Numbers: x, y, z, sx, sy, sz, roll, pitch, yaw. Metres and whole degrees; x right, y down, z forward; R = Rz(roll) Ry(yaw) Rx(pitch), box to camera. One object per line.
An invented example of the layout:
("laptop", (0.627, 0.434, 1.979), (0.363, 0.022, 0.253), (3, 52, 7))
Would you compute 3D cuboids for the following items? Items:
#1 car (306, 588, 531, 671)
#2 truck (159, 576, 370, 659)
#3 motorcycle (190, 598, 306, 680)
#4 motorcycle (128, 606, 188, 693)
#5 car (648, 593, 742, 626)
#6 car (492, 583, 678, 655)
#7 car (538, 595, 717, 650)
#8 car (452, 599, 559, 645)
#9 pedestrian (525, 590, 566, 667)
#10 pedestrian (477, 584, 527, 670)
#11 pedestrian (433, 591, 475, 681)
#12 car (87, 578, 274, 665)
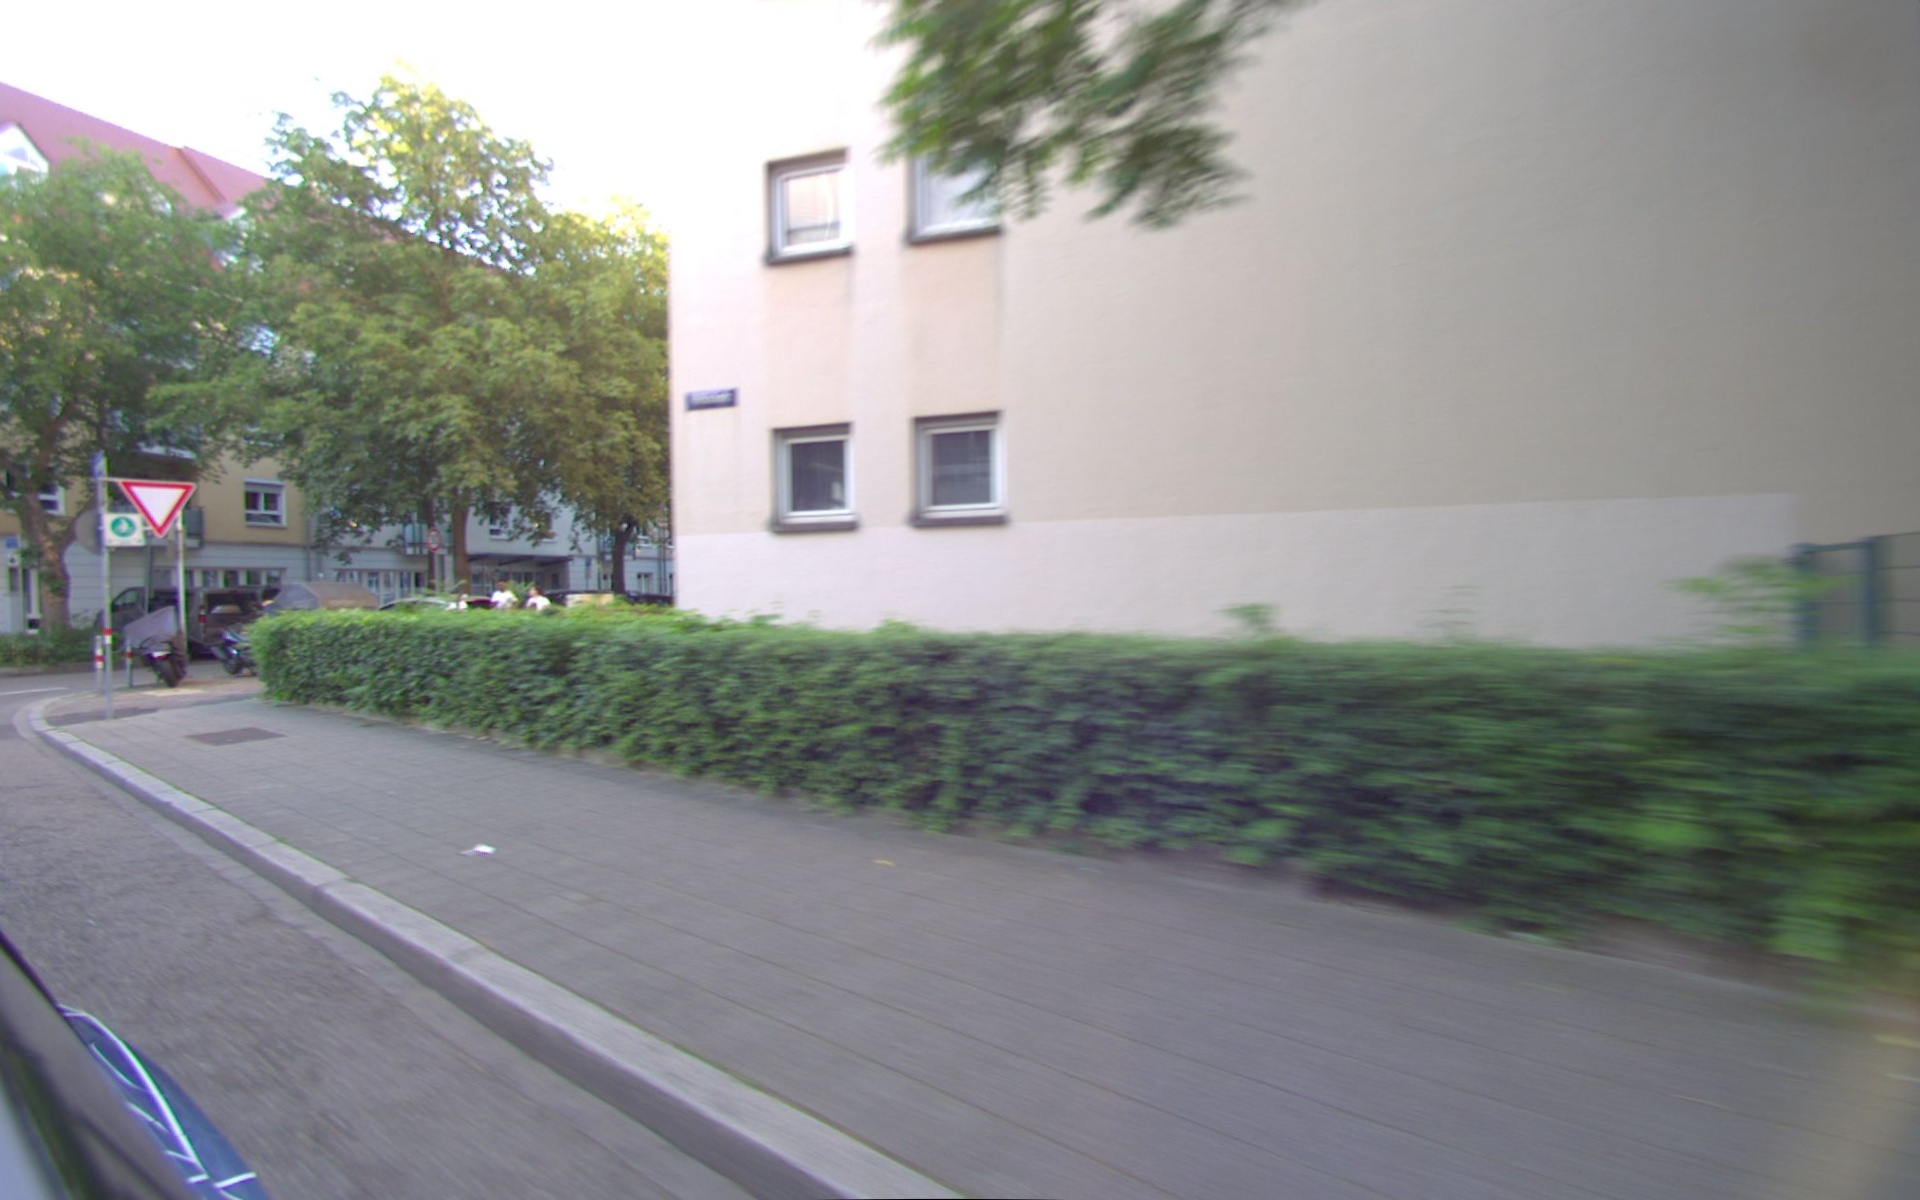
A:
("car", (-12.335, 0.665, 23.082), (4.479, 1.593, 2.041), (-3, 0, 20))
("truck", (-21.381, 0.476, 31.111), (5.978, 2.149, 2.246), (3, 2, 20))
("motorcycle", (-13.605, 0.734, 19.319), (2.208, 1.505, 0.686), (-1, 0, 21))
("motorcycle", (-13.773, 0.813, 17.359), (0.712, 1.384, 2.228), (-1, 0, -40))
("car", (-13.916, 0.473, 53.175), (4.551, 1.563, 1.762), (2, 1, 19))
("car", (-10.178, 0.516, 27.551), (4.373, 1.697, 2.052), (-3, -1, 17))
("car", (-9.745, 0.653, 29.745), (4.691, 1.435, 2.060), (-2, 0, 18))
("car", (-18.080, 0.836, 40.255), (3.645, 1.559, 1.771), (2, 3, 17))
("pedestrian", (-8.686, 0.581, 21.206), (0.657, 1.583, 0.445), (0, 2, 24))
("pedestrian", (-9.886, 0.575, 21.837), (0.694, 1.801, 0.660), (-1, 0, 24))
("pedestrian", (-10.426, 0.722, 20.855), (0.687, 1.801, 0.531), (-1, 0, -21))
("car", (-21.999, 0.540, 28.587), (4.600, 2.149, 2.024), (3, 1, 20))
